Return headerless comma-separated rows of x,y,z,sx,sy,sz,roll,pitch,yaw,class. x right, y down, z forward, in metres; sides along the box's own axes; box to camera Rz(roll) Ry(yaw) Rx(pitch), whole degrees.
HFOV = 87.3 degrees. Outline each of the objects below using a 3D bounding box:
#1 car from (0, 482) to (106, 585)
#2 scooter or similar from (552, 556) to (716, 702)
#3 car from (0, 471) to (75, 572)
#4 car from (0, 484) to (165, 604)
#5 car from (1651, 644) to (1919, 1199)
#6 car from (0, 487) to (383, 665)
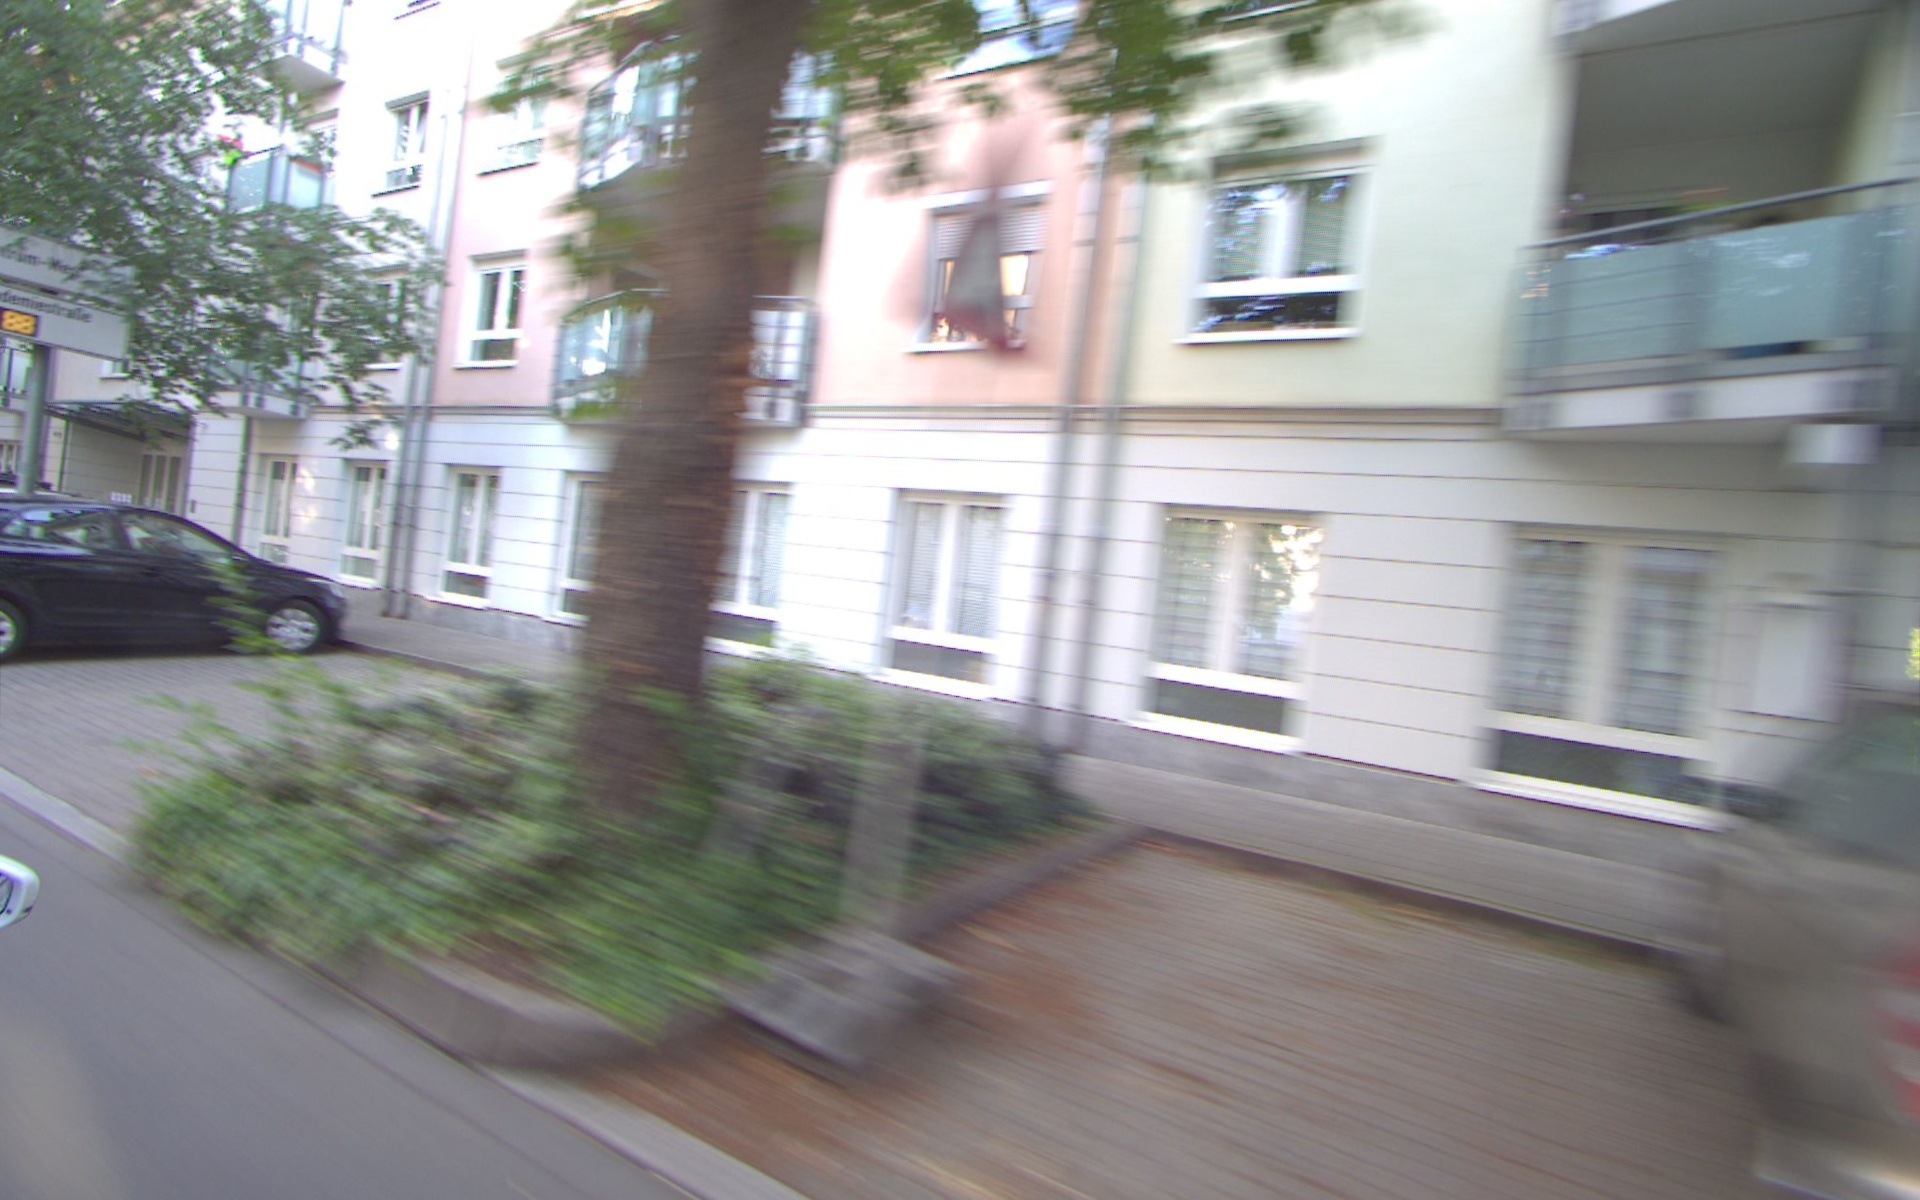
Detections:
-15.430,-1.103,14.632,1.898,1.458,4.221,7,3,33,car
-3.195,0.260,9.836,1.430,1.219,0.655,7,3,29,scooter or similar
-17.514,-1.441,16.069,1.975,1.639,4.646,7,3,28,car
-13.434,-0.840,12.993,1.766,1.487,4.601,7,2,31,car
3.386,1.049,2.895,1.884,1.606,3.971,7,2,31,car
-8.362,-0.265,10.052,1.900,1.471,4.088,7,2,26,car
